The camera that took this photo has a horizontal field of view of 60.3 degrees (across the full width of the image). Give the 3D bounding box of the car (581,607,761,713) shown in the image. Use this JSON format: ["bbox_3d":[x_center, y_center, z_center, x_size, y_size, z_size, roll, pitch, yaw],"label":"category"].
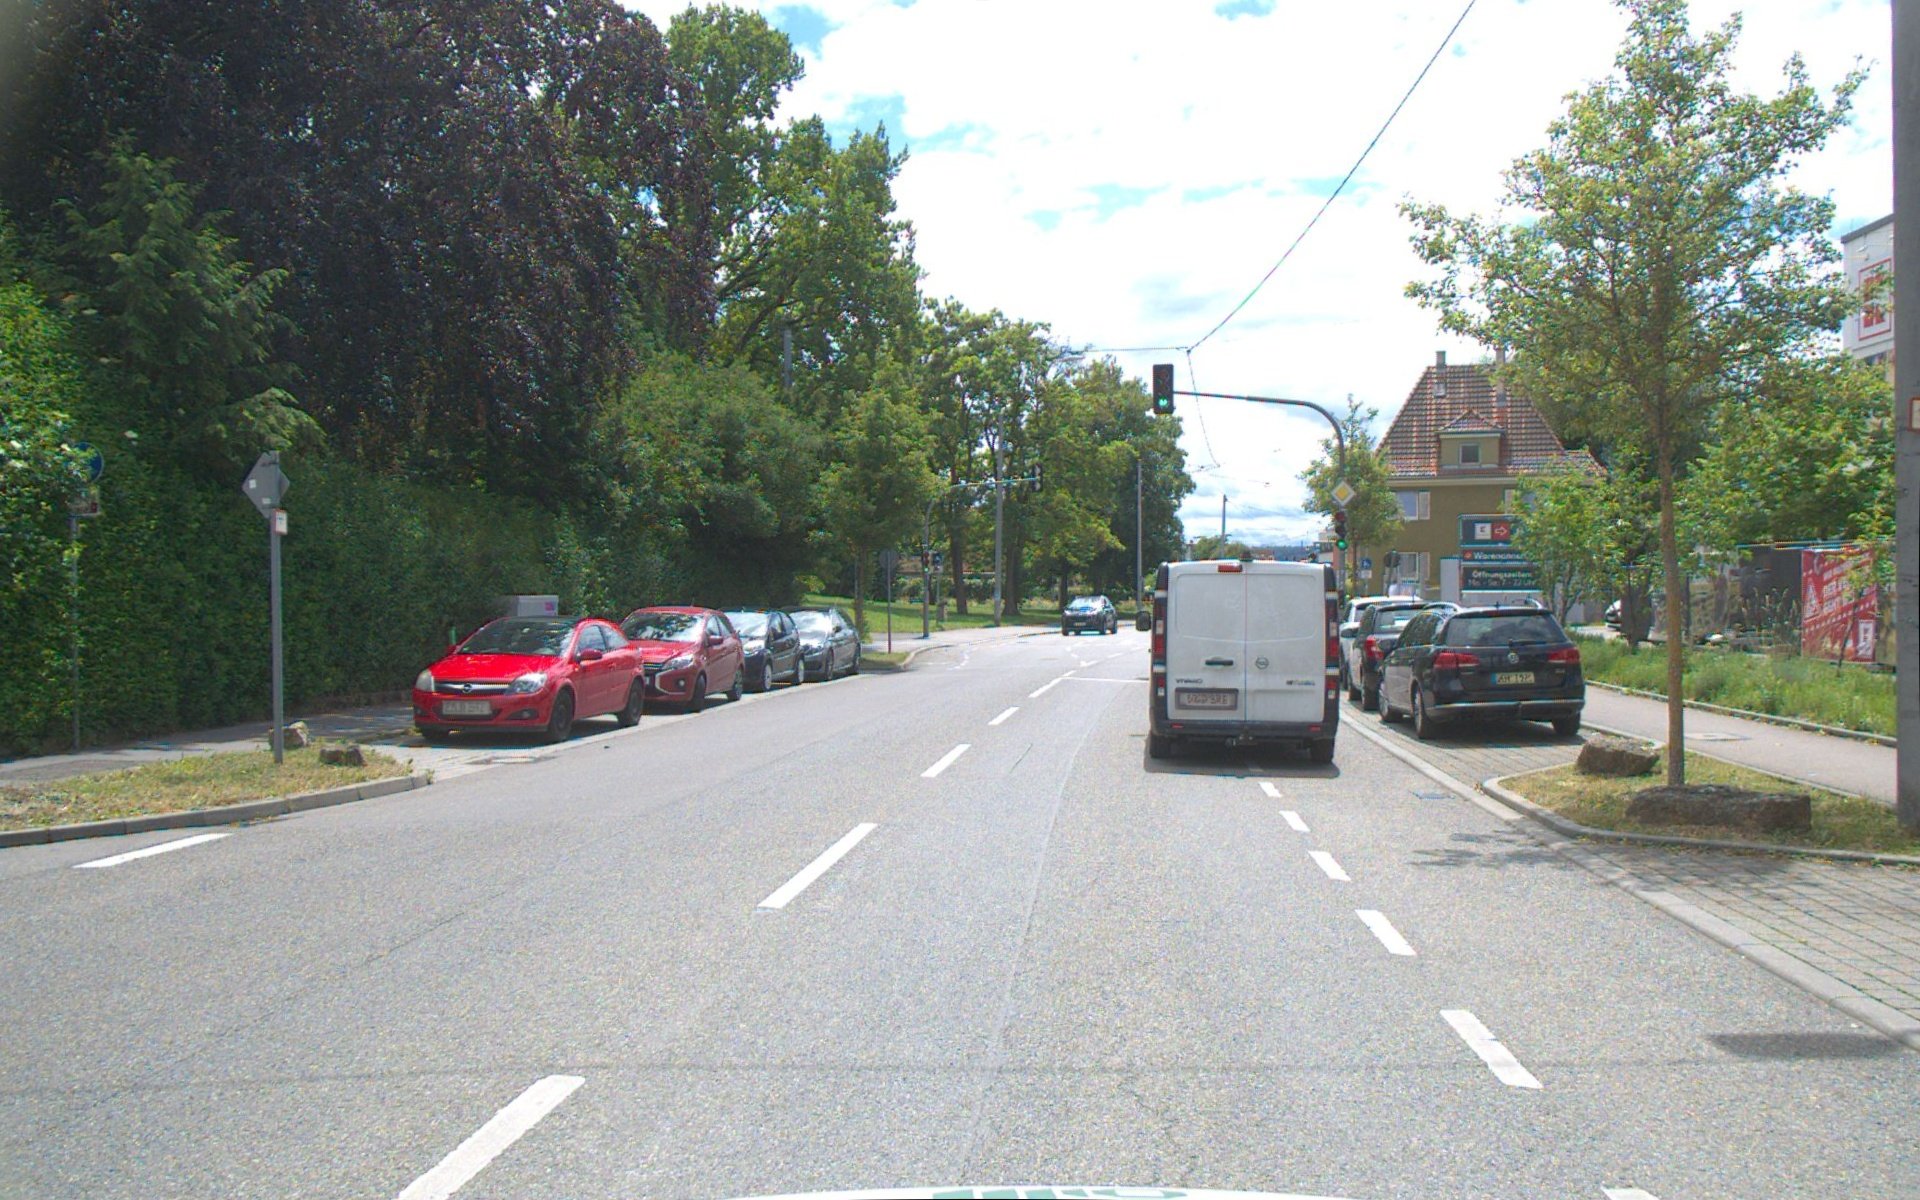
[{"bbox_3d":[-4.374,0.863,25.636,1.614,1.476,4.108,1,0,7],"label":"car"}]

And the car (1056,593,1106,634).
[{"bbox_3d":[5.200,0.555,70.516,1.794,1.645,4.155,-2,0,8],"label":"car"}]

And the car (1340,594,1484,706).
[{"bbox_3d":[6.696,0.698,24.833,1.535,1.519,4.003,-2,0,8],"label":"car"}]

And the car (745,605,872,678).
[{"bbox_3d":[-3.092,0.807,34.731,1.659,1.389,4.690,1,0,7],"label":"car"}]

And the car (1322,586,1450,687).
[{"bbox_3d":[7.736,0.630,30.373,1.700,1.644,4.390,-3,-1,8],"label":"car"}]

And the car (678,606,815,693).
[{"bbox_3d":[-3.867,0.859,30.486,1.561,1.476,3.599,1,0,9],"label":"car"}]

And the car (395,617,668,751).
[{"bbox_3d":[-5.103,0.943,20.375,1.625,1.402,4.569,1,0,8],"label":"car"}]

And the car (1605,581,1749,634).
[{"bbox_3d":[22.917,0.234,52.964,3.904,1.634,1.609,-1,1,2],"label":"car"}]

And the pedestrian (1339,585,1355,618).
[{"bbox_3d":[19.017,0.074,81.291,0.664,1.580,0.836,-2,-3,14],"label":"pedestrian"}]

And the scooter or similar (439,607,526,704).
[{"bbox_3d":[-7.389,0.837,25.664,0.656,1.437,1.650,0,0,9],"label":"scooter or similar"}]

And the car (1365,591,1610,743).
[{"bbox_3d":[6.132,0.717,19.833,1.727,1.503,4.939,-3,-1,6],"label":"car"}]

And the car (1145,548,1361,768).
[{"bbox_3d":[2.998,0.533,17.837,1.898,1.995,4.836,1,0,6],"label":"car"}]
